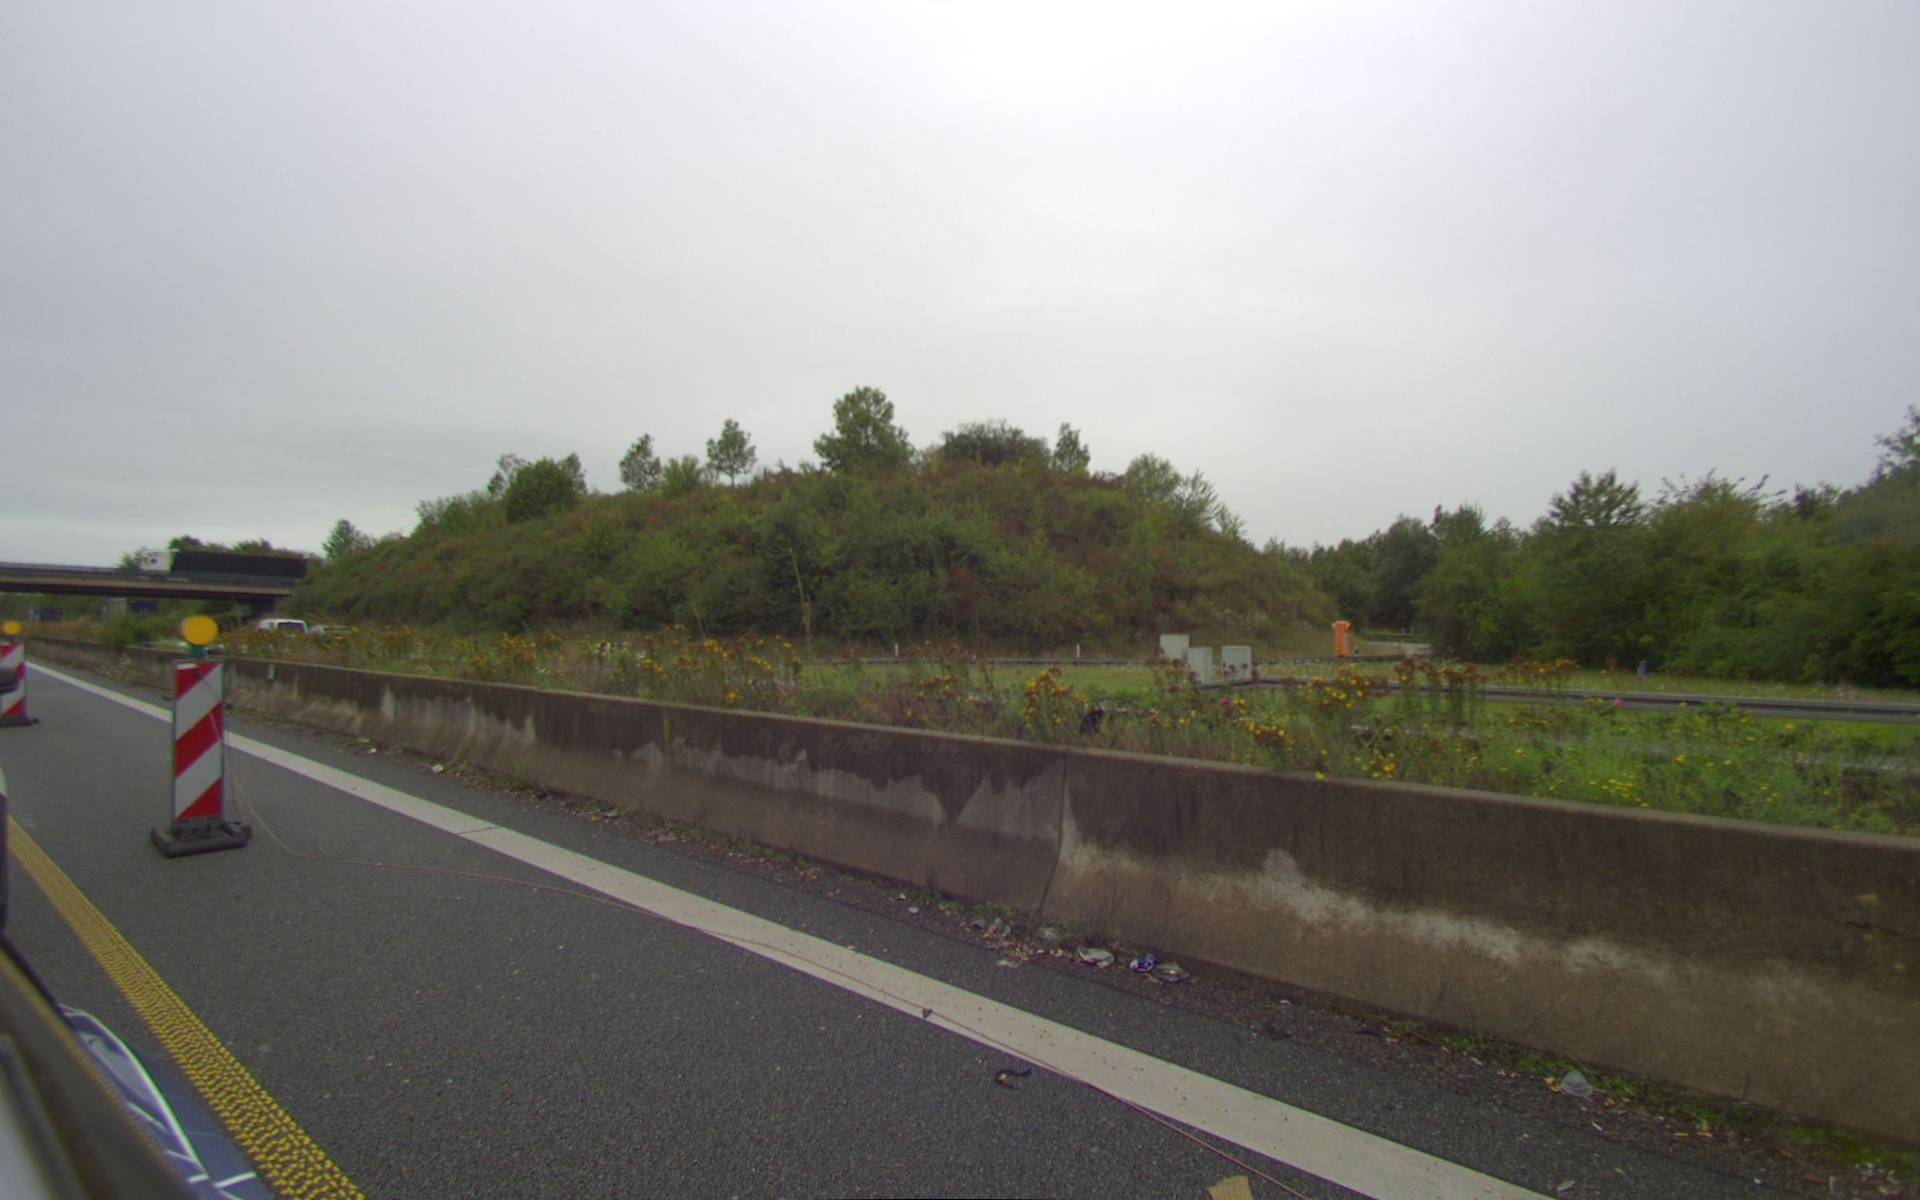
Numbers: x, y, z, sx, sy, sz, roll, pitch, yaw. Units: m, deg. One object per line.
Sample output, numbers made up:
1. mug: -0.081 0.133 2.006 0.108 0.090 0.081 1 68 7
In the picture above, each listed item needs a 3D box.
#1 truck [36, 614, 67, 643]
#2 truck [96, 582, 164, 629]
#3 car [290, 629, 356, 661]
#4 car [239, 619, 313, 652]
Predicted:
1. truck: -141.996 4.388 158.143 12.519 4.277 2.646 -1 0 44
2. truck: -86.695 0.591 105.488 17.291 4.558 3.369 -1 -1 44
3. car: -35.342 2.471 56.122 4.294 1.674 1.972 -2 -3 41
4. car: -33.641 1.734 49.735 4.744 1.555 1.849 -2 -3 41
